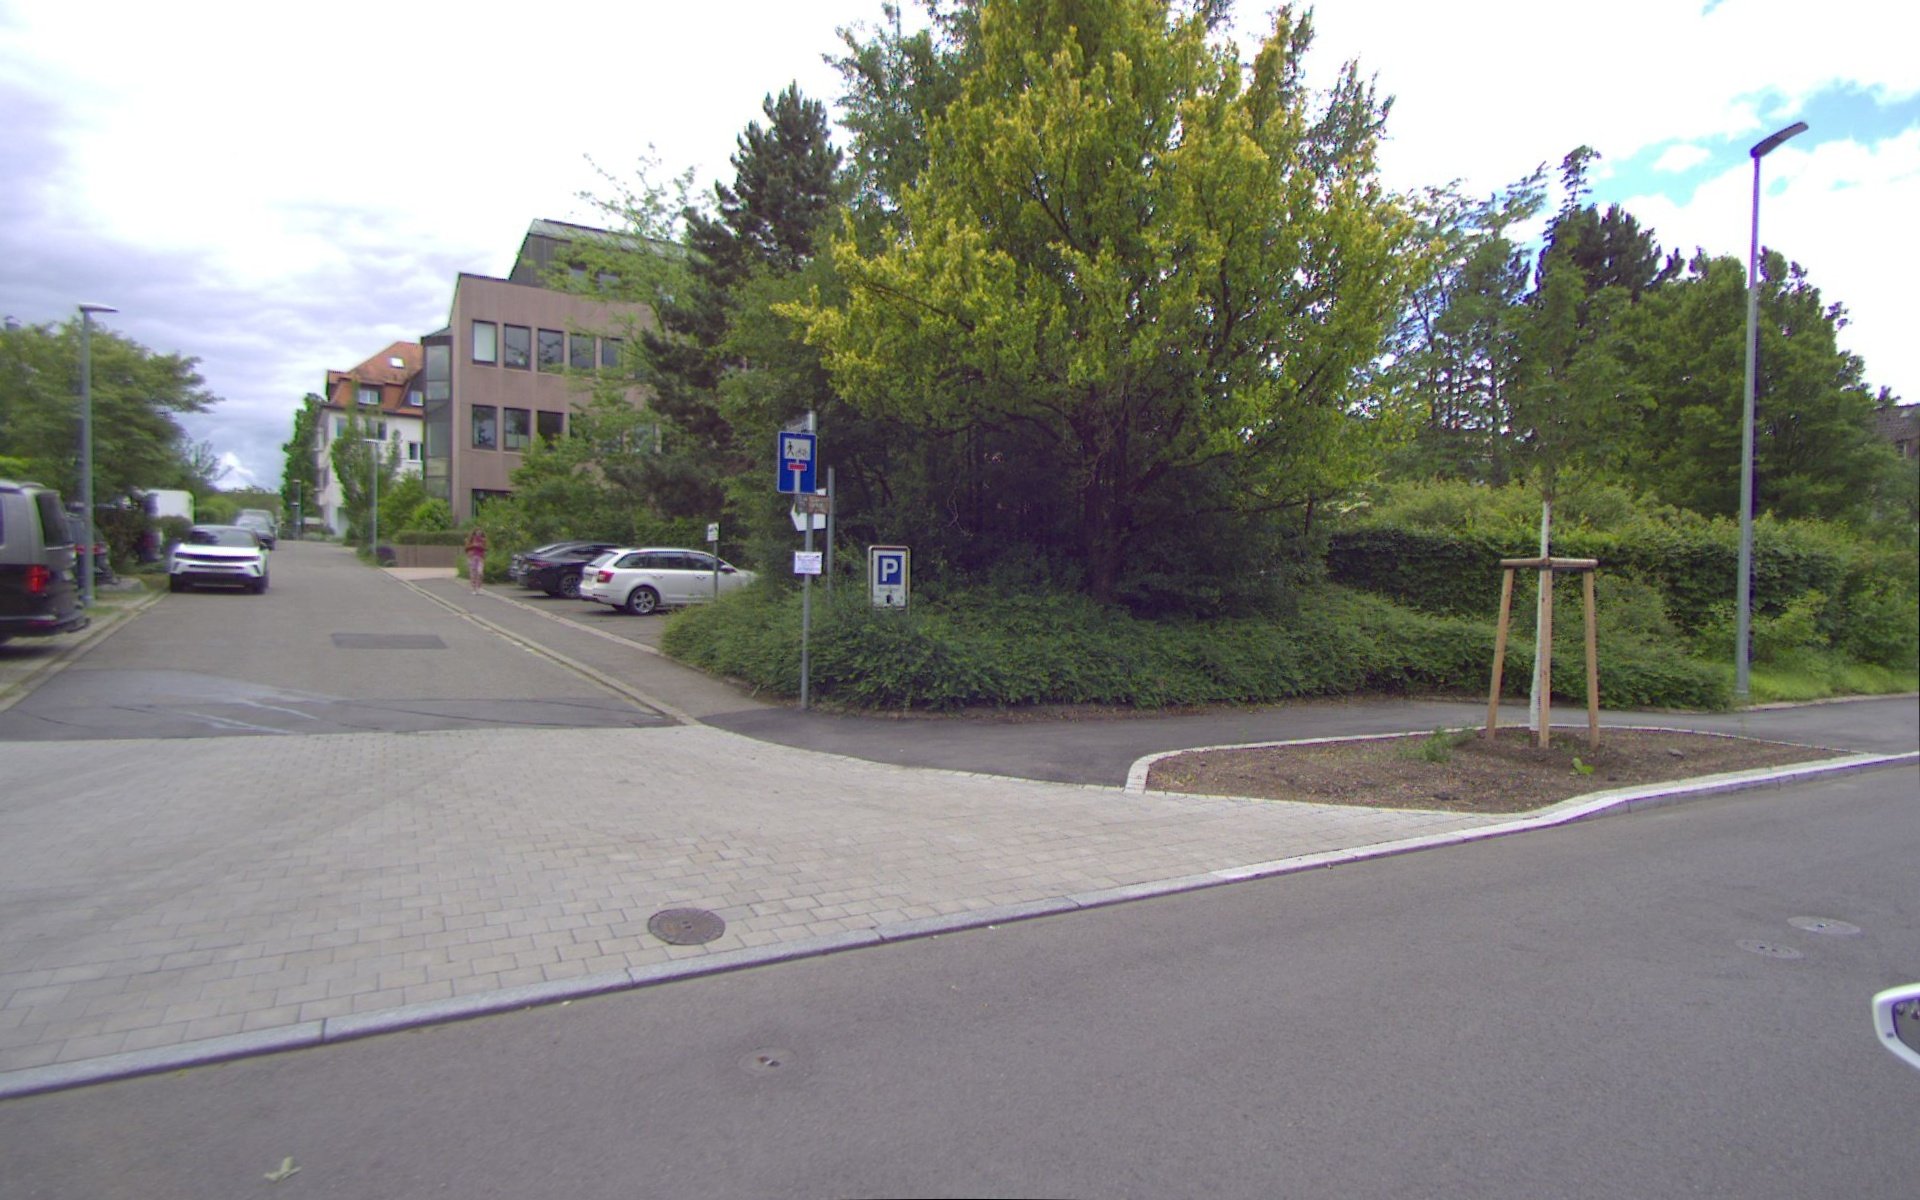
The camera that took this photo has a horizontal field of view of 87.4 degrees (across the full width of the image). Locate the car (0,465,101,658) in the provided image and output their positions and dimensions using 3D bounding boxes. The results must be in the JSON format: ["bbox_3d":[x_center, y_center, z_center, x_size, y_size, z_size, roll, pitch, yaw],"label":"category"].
[{"bbox_3d":[-12.330,-0.543,10.603,4.717,2.078,1.893,3,3,-35],"label":"car"}]

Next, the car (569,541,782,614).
[{"bbox_3d":[-6.537,-0.564,23.242,4.366,1.553,1.981,-1,4,-33],"label":"car"}]

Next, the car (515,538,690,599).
[{"bbox_3d":[-9.702,-0.889,27.338,4.162,1.554,1.917,-2,4,-33],"label":"car"}]

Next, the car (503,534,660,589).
[{"bbox_3d":[-11.391,-1.139,30.310,4.162,1.553,1.917,-1,3,-33],"label":"car"}]

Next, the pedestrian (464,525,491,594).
[{"bbox_3d":[-12.961,-1.088,26.992,0.555,1.795,0.567,2,3,-30],"label":"pedestrian"}]

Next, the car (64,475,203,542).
[{"bbox_3d":[-32.065,-3.511,39.134,3.959,2.143,1.955,2,-1,-34],"label":"car"}]

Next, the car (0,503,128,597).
[{"bbox_3d":[-18.652,-1.028,18.657,4.717,1.648,1.854,3,3,-35],"label":"car"}]

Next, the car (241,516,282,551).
[{"bbox_3d":[-34.650,-3.297,49.795,1.589,1.573,3.551,2,1,-36],"label":"car"}]

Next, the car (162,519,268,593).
[{"bbox_3d":[-17.839,-1.071,23.996,1.752,1.592,3.951,0,3,-41],"label":"car"}]

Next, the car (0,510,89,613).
[{"bbox_3d":[-16.208,-0.697,15.256,4.278,1.518,1.669,3,3,-35],"label":"car"}]
